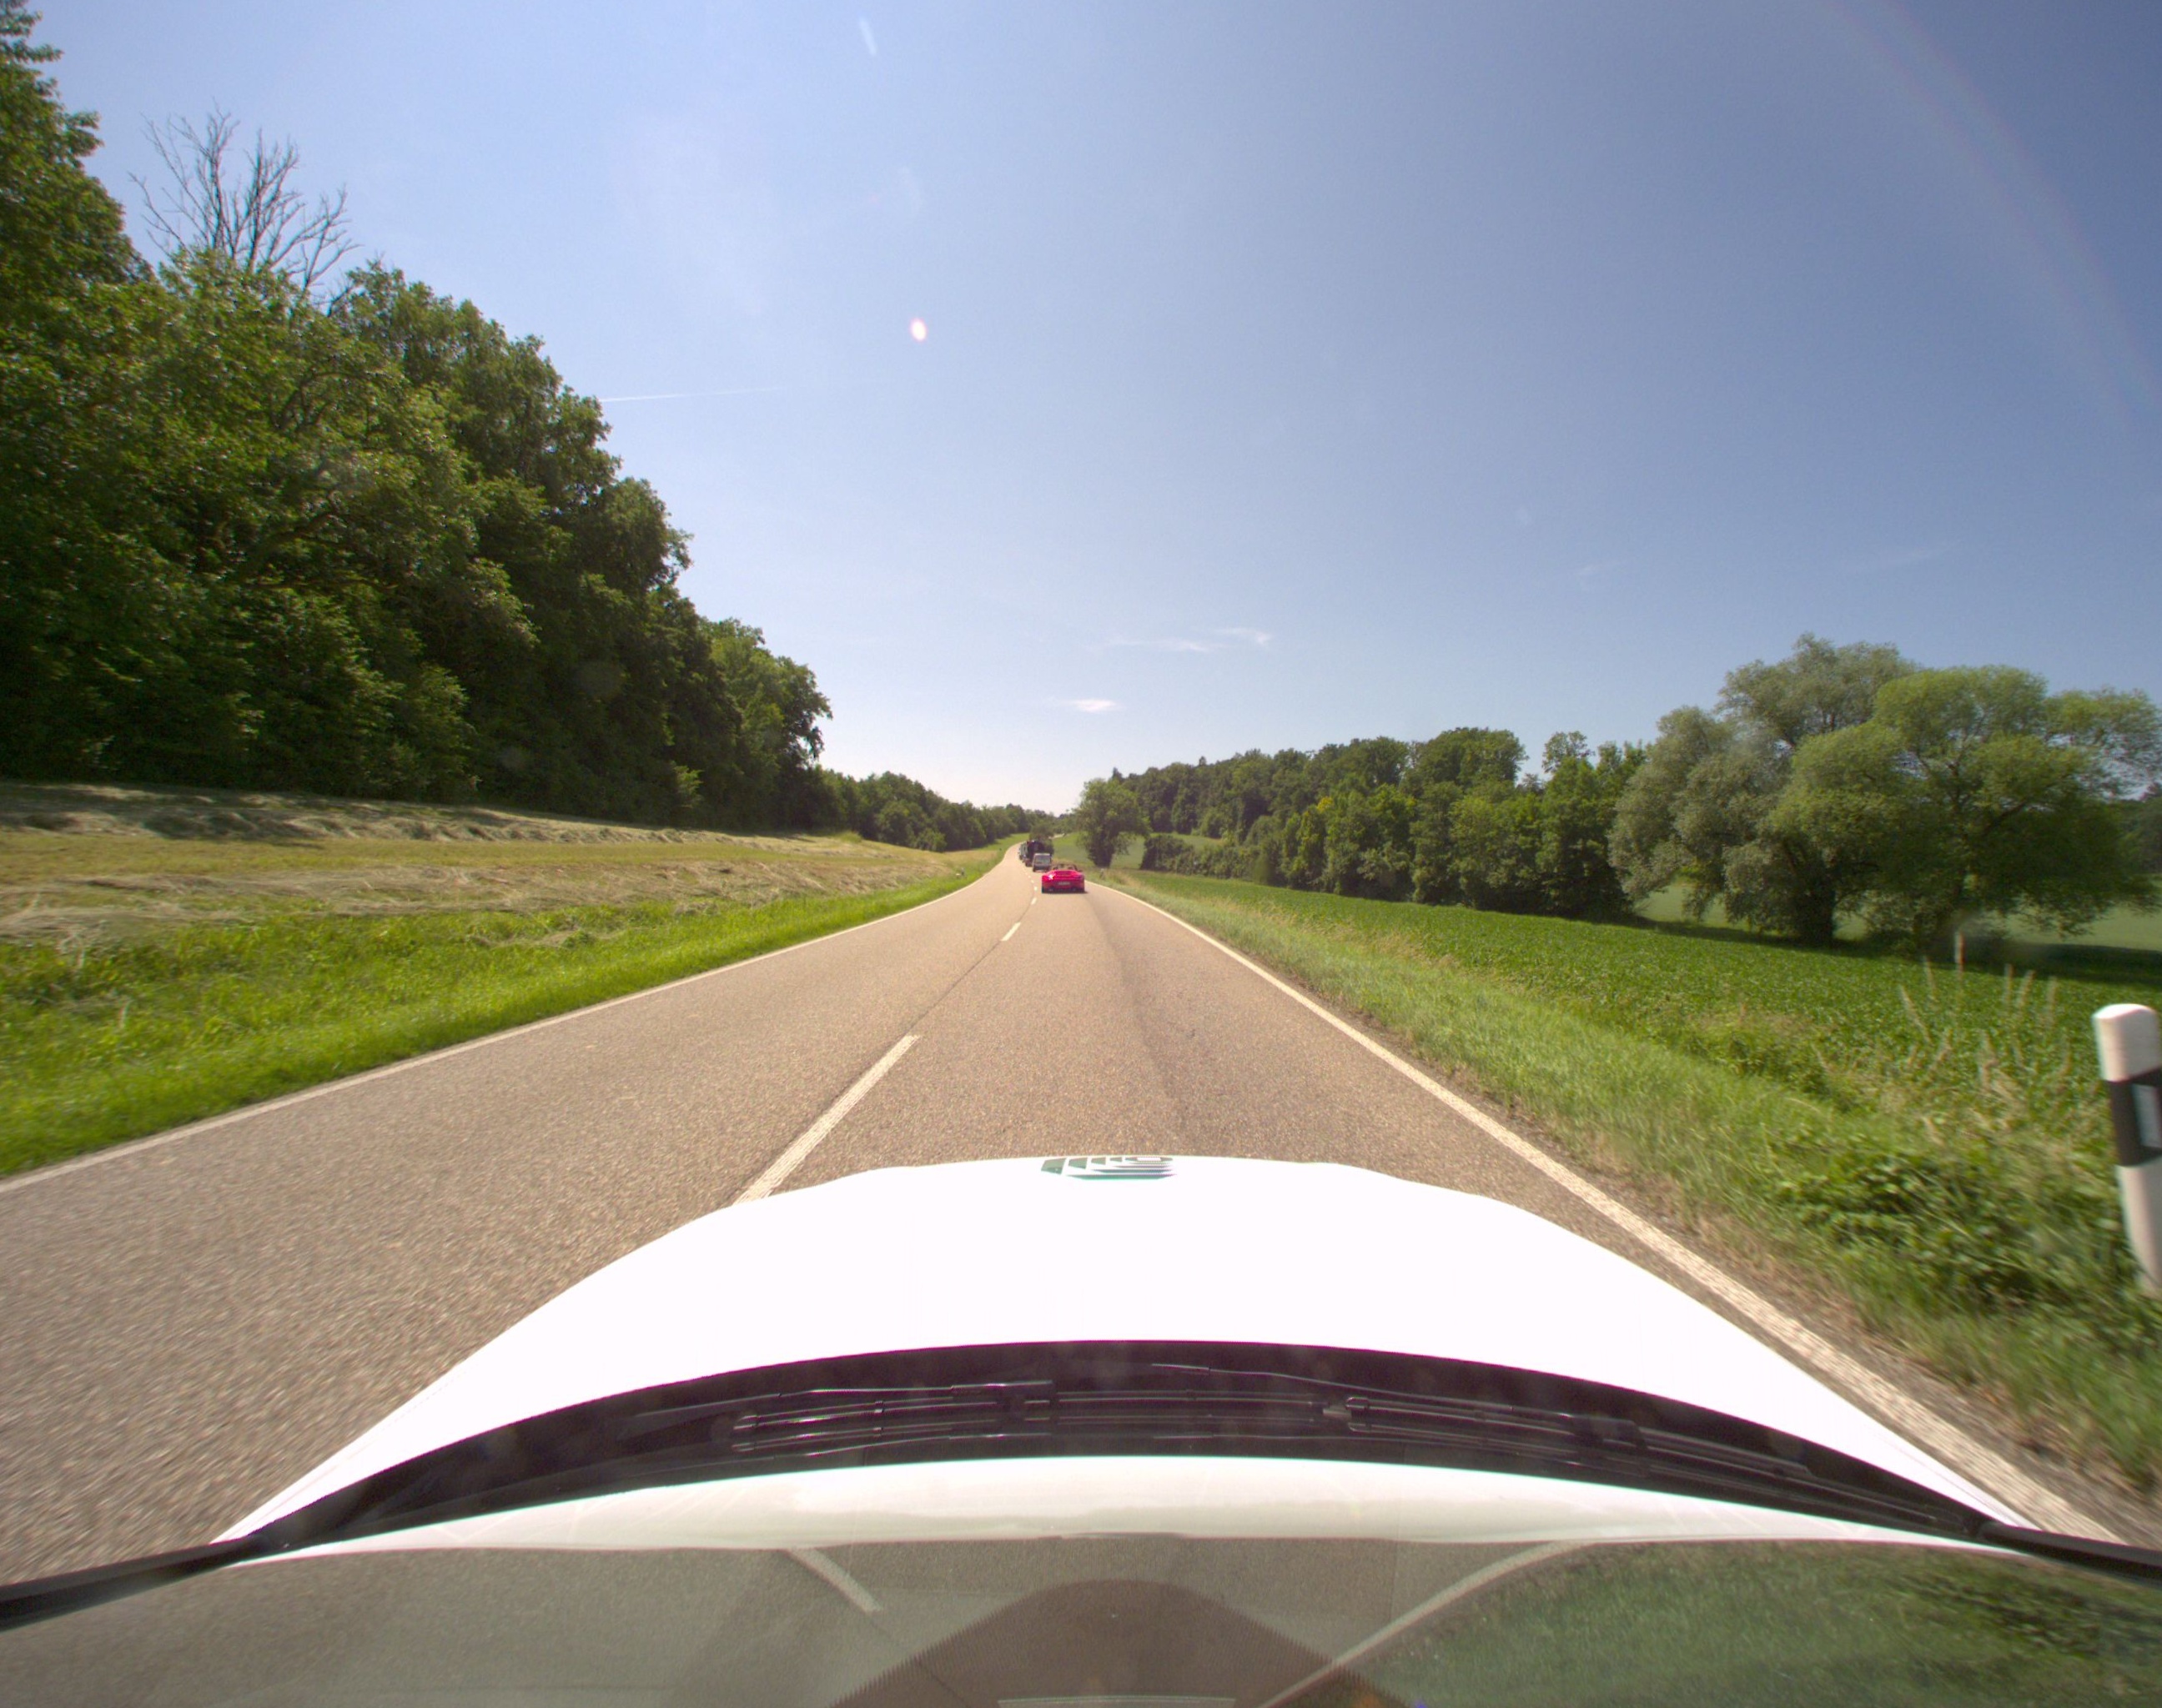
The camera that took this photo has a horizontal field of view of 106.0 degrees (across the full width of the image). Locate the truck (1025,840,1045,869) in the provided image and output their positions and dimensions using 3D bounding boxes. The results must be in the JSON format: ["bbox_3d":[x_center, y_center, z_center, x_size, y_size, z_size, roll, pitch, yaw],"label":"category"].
[{"bbox_3d":[-6.959,0.014,120.956,2.401,4.049,12.525,0,1,-6],"label":"truck"}]

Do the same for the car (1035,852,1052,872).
[{"bbox_3d":[-3.894,0.806,84.492,1.674,1.900,4.006,-1,0,-2],"label":"car"}]

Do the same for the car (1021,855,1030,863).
[{"bbox_3d":[-11.350,1.083,167.099,1.720,1.585,4.153,0,0,-5],"label":"car"}]

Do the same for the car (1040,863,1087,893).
[{"bbox_3d":[-0.729,1.041,36.304,1.875,1.255,4.011,-1,-1,2],"label":"car"}]

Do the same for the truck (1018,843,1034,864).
[{"bbox_3d":[-13.988,-0.206,206.751,3.719,4.659,12.012,0,2,-5],"label":"truck"}]
